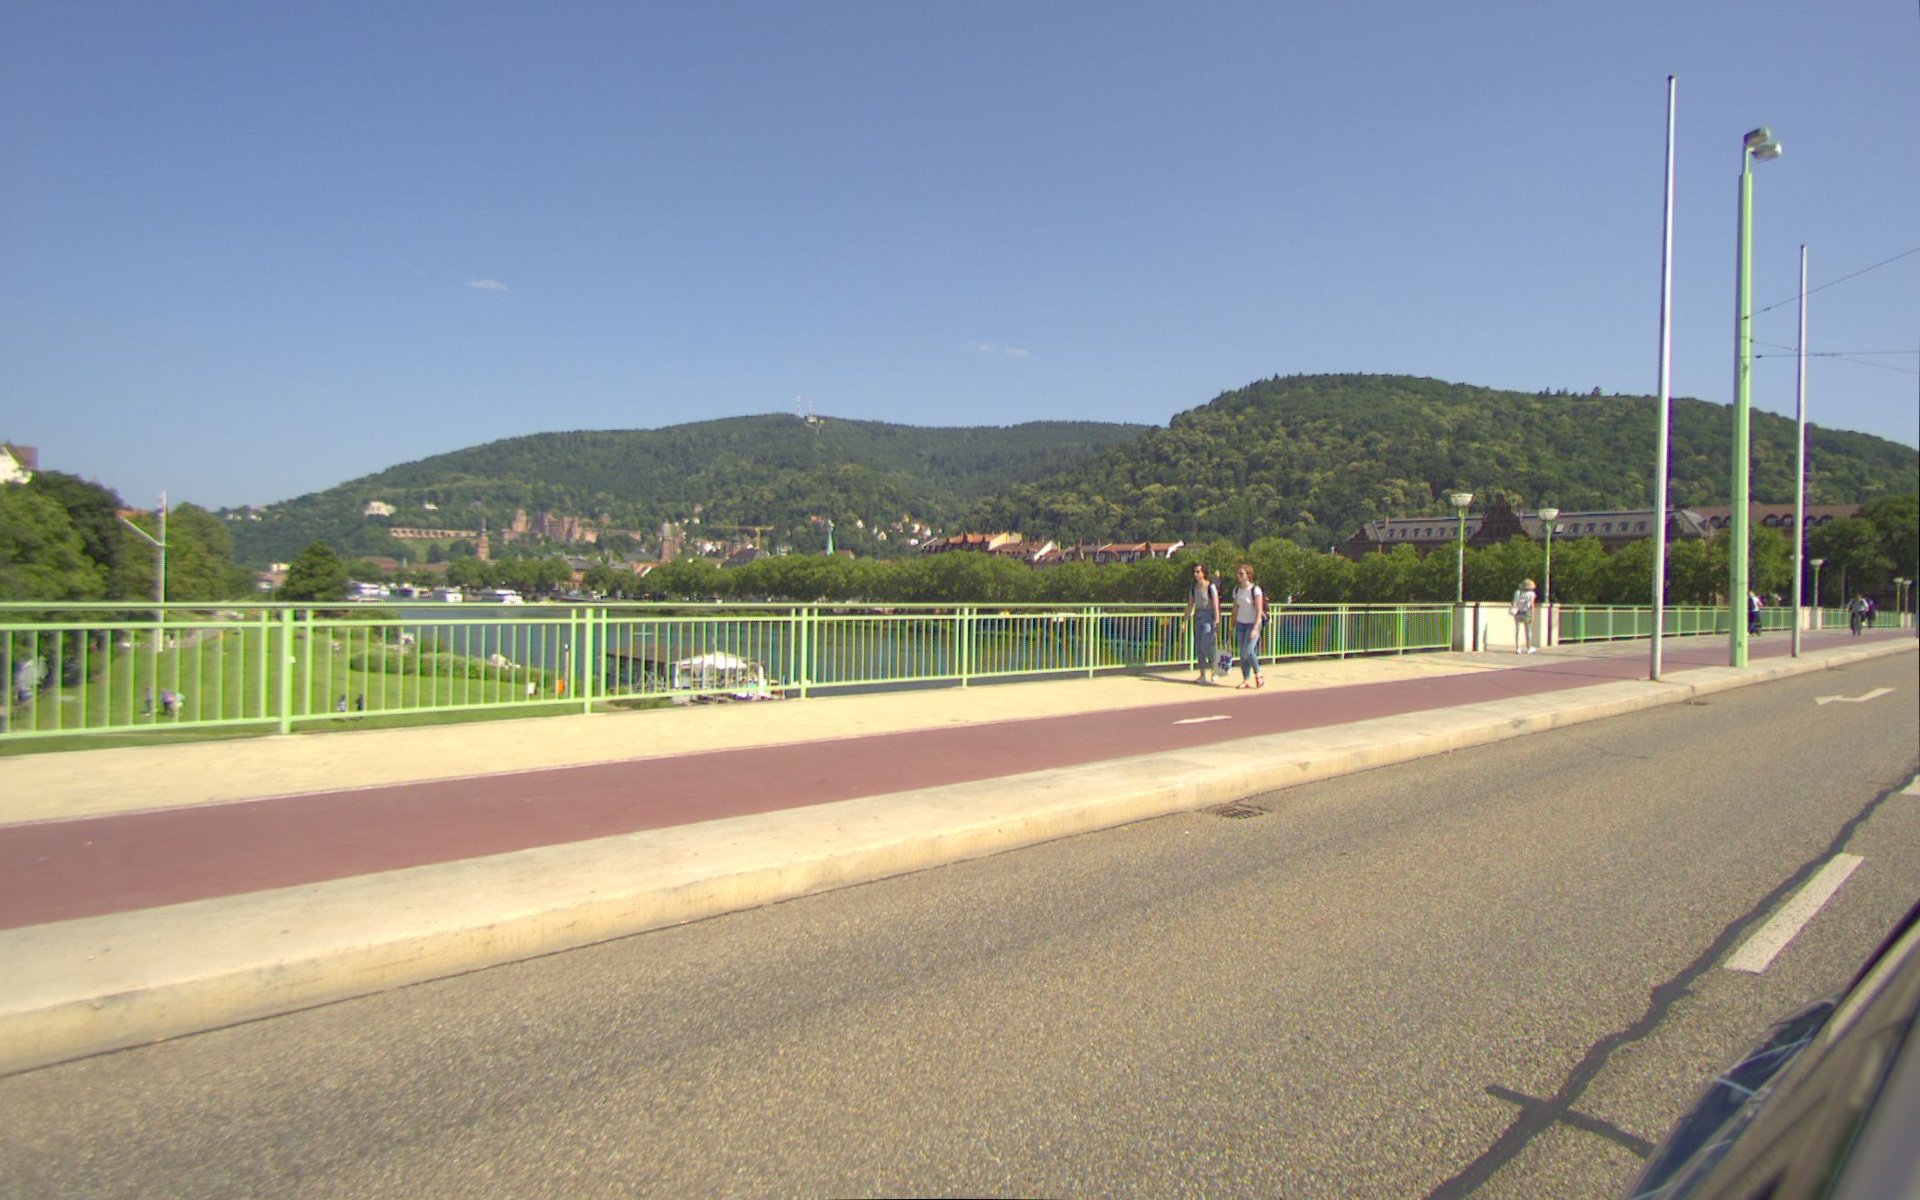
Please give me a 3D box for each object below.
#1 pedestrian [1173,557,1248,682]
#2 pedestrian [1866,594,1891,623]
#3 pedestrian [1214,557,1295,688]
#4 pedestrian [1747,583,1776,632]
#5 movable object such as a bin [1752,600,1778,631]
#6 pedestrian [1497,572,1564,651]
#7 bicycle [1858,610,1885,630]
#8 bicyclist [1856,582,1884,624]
[{"bbox_3d":[3.503,0.257,14.159,0.733,1.679,0.668,0,2,-41],"label":"pedestrian"},{"bbox_3d":[55.326,0.492,60.940,1.063,1.683,0.949,0,2,-41],"label":"pedestrian"},{"bbox_3d":[3.952,0.281,13.581,0.811,1.679,0.664,0,2,-41],"label":"pedestrian"},{"bbox_3d":[29.426,0.270,37.151,0.844,1.727,0.664,0,2,-41],"label":"pedestrian"},{"bbox_3d":[30.015,0.581,37.733,0.917,1.104,0.583,0,1,-42],"label":"movable object such as a bin"},{"bbox_3d":[12.711,0.244,22.535,1.063,1.683,0.949,0,2,-41],"label":"pedestrian"},{"bbox_3d":[37.988,0.837,42.181,1.834,0.775,0.595,0,2,-41],"label":"bicycle"},{"bbox_3d":[37.788,0.121,42.040,0.829,1.685,0.731,1,1,-40],"label":"bicyclist"}]
